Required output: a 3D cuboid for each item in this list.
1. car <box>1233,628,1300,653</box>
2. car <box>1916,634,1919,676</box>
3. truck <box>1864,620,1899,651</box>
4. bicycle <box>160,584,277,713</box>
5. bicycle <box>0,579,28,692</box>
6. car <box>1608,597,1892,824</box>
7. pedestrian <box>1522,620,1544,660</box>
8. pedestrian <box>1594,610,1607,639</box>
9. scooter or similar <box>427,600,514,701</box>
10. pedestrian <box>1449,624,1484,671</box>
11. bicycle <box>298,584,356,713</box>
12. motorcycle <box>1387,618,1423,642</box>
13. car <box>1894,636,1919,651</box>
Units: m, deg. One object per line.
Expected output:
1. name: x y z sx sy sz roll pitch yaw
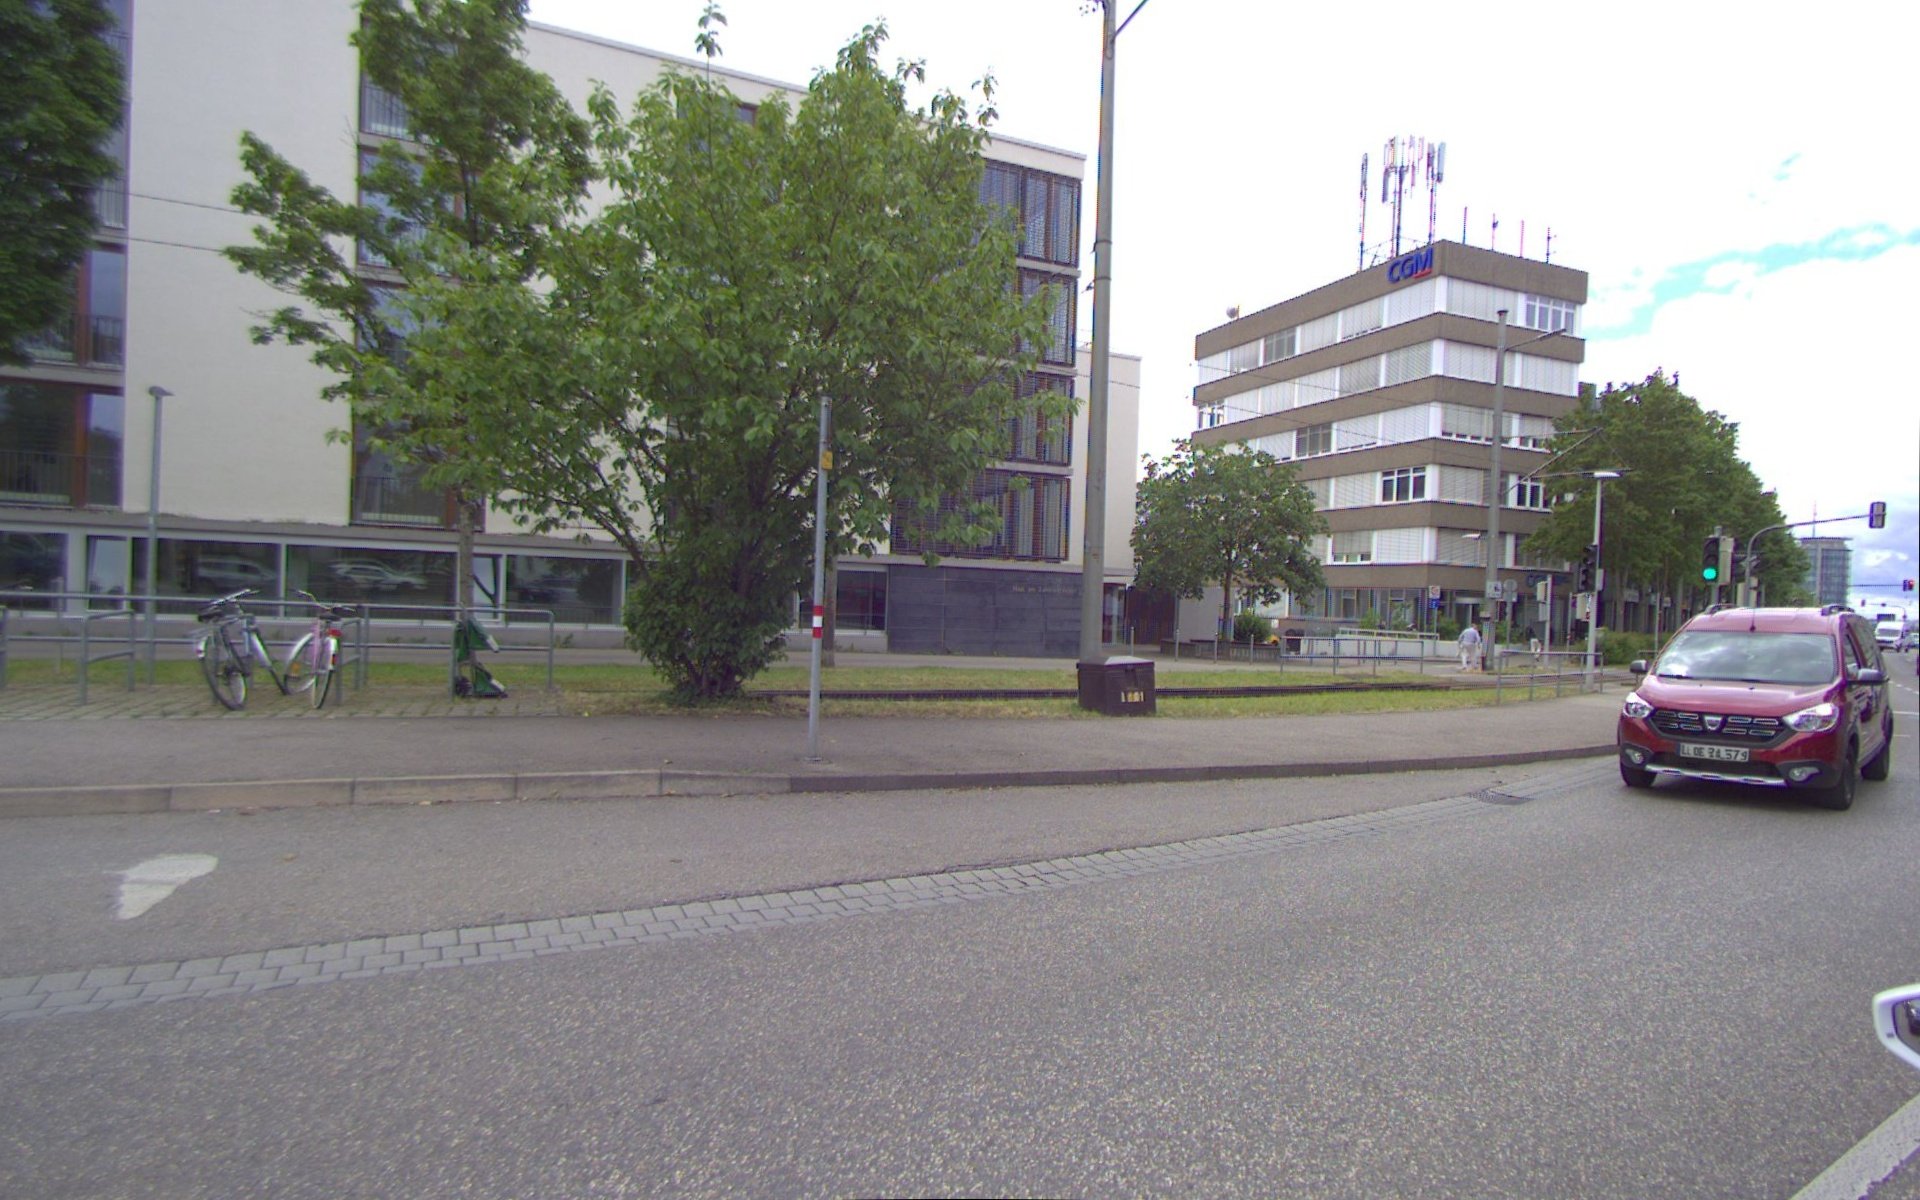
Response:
1. car: 19.037 2.503 62.390 3.949 1.444 1.719 2 -2 -27
2. car: 39.487 2.242 40.065 4.160 1.630 1.742 2 0 -44
3. truck: 85.284 3.289 93.010 2.140 2.650 5.766 2 0 41
4. bicycle: -6.958 0.408 9.494 0.402 1.060 1.745 2 2 -20
5. bicycle: -9.047 0.355 8.998 0.390 1.039 1.684 2 2 -20
6. car: 8.172 0.963 10.231 4.322 1.832 1.665 2 -2 -43
7. pedestrian: 24.910 1.730 43.655 0.680 1.728 0.678 1 -1 45
8. pedestrian: 46.338 1.762 72.628 0.673 2.040 0.568 2 0 42
9. scooter or similar: -5.293 0.533 10.852 0.765 1.023 0.783 2 0 -30
10. pedestrian: 17.277 1.619 34.262 0.838 1.547 0.991 1 -1 41
11. bicycle: -6.287 0.436 9.946 0.404 1.103 1.693 1 2 -34
12. motorcycle: 24.256 1.611 54.801 0.560 1.215 1.873 2 0 -25
13. car: 125.148 5.729 132.537 1.641 1.907 3.996 2 0 26
